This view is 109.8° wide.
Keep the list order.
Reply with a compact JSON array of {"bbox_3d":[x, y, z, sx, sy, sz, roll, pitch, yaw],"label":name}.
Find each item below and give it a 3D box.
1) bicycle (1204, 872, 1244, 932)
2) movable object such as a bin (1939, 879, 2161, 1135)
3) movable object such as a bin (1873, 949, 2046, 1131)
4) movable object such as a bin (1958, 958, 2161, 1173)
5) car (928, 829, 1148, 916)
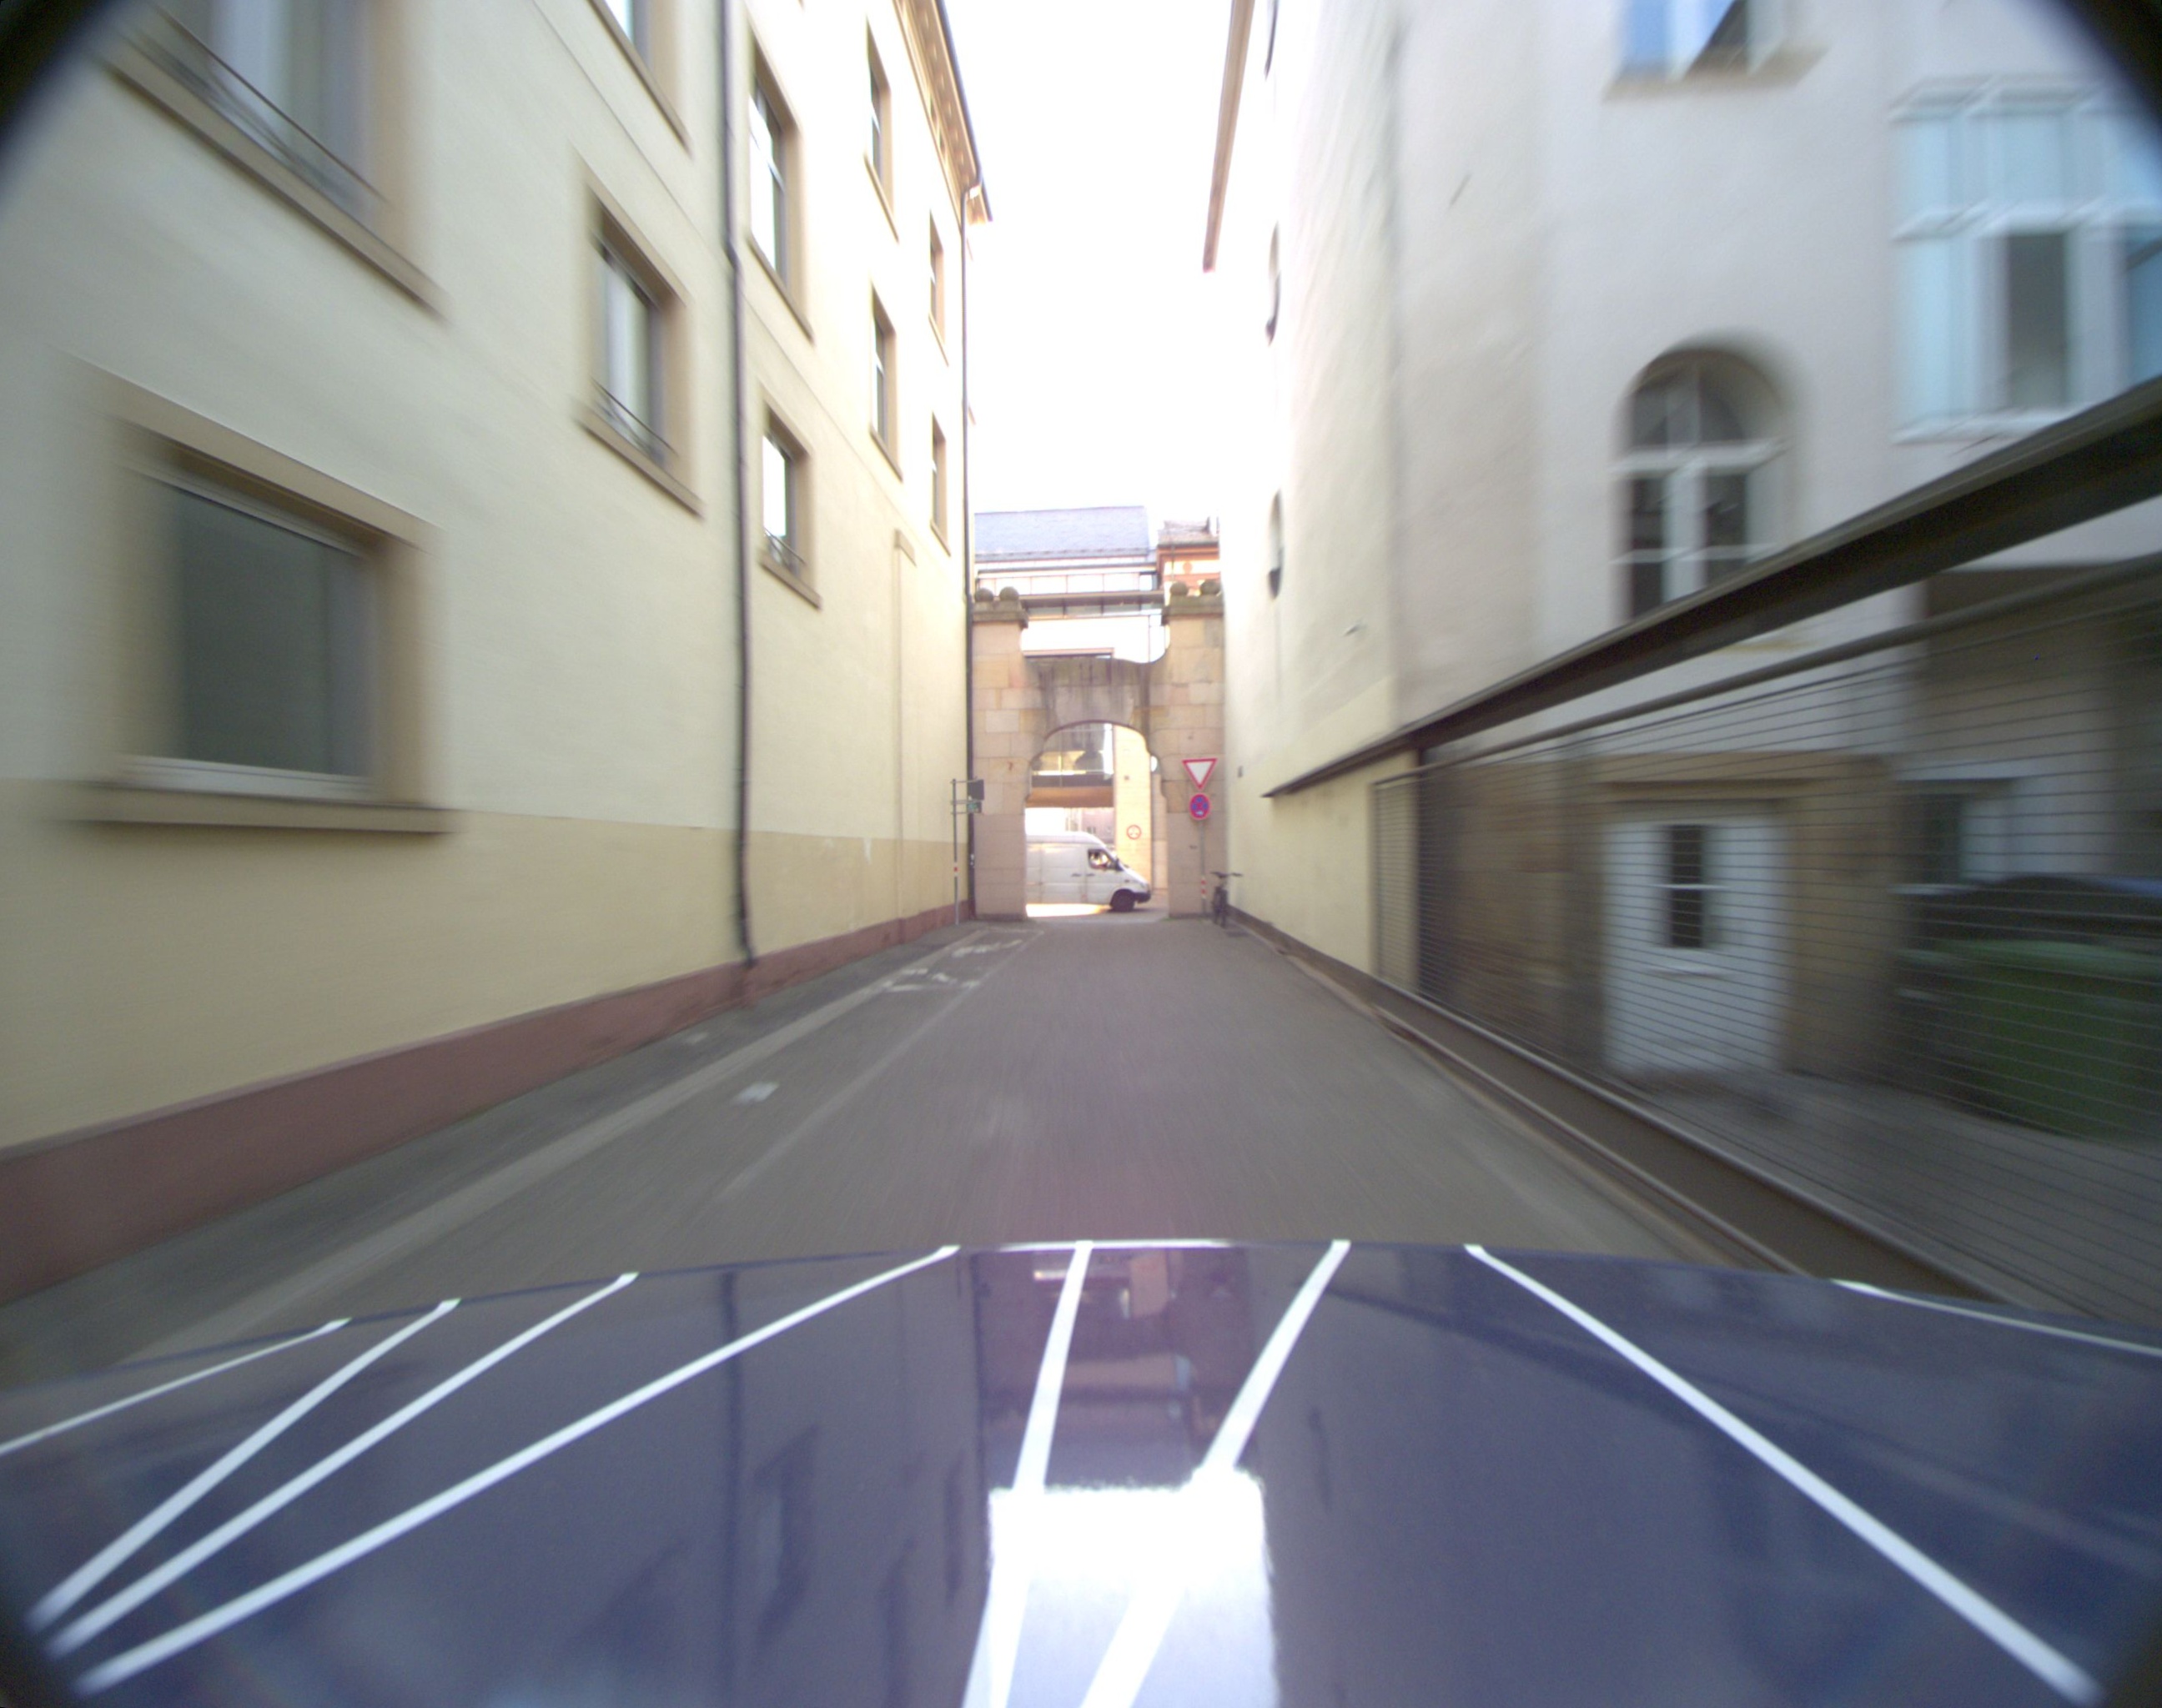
[{"bbox_3d":[2.839,0.922,15.202,0.596,1.073,1.756,-1,0,5],"label":"bicycle"},{"bbox_3d":[6.700,0.924,5.102,1.302,1.443,1.018,-2,0,-32],"label":"movable object such as a bin"},{"bbox_3d":[5.610,1.166,4.879,0.508,1.041,0.525,-1,1,4],"label":"movable object such as a bin"},{"bbox_3d":[5.600,1.154,4.289,0.595,1.041,0.608,-1,1,4],"label":"movable object such as a bin"},{"bbox_3d":[-1.303,0.517,23.493,6.466,2.498,2.001,-1,2,-3],"label":"car"}]
